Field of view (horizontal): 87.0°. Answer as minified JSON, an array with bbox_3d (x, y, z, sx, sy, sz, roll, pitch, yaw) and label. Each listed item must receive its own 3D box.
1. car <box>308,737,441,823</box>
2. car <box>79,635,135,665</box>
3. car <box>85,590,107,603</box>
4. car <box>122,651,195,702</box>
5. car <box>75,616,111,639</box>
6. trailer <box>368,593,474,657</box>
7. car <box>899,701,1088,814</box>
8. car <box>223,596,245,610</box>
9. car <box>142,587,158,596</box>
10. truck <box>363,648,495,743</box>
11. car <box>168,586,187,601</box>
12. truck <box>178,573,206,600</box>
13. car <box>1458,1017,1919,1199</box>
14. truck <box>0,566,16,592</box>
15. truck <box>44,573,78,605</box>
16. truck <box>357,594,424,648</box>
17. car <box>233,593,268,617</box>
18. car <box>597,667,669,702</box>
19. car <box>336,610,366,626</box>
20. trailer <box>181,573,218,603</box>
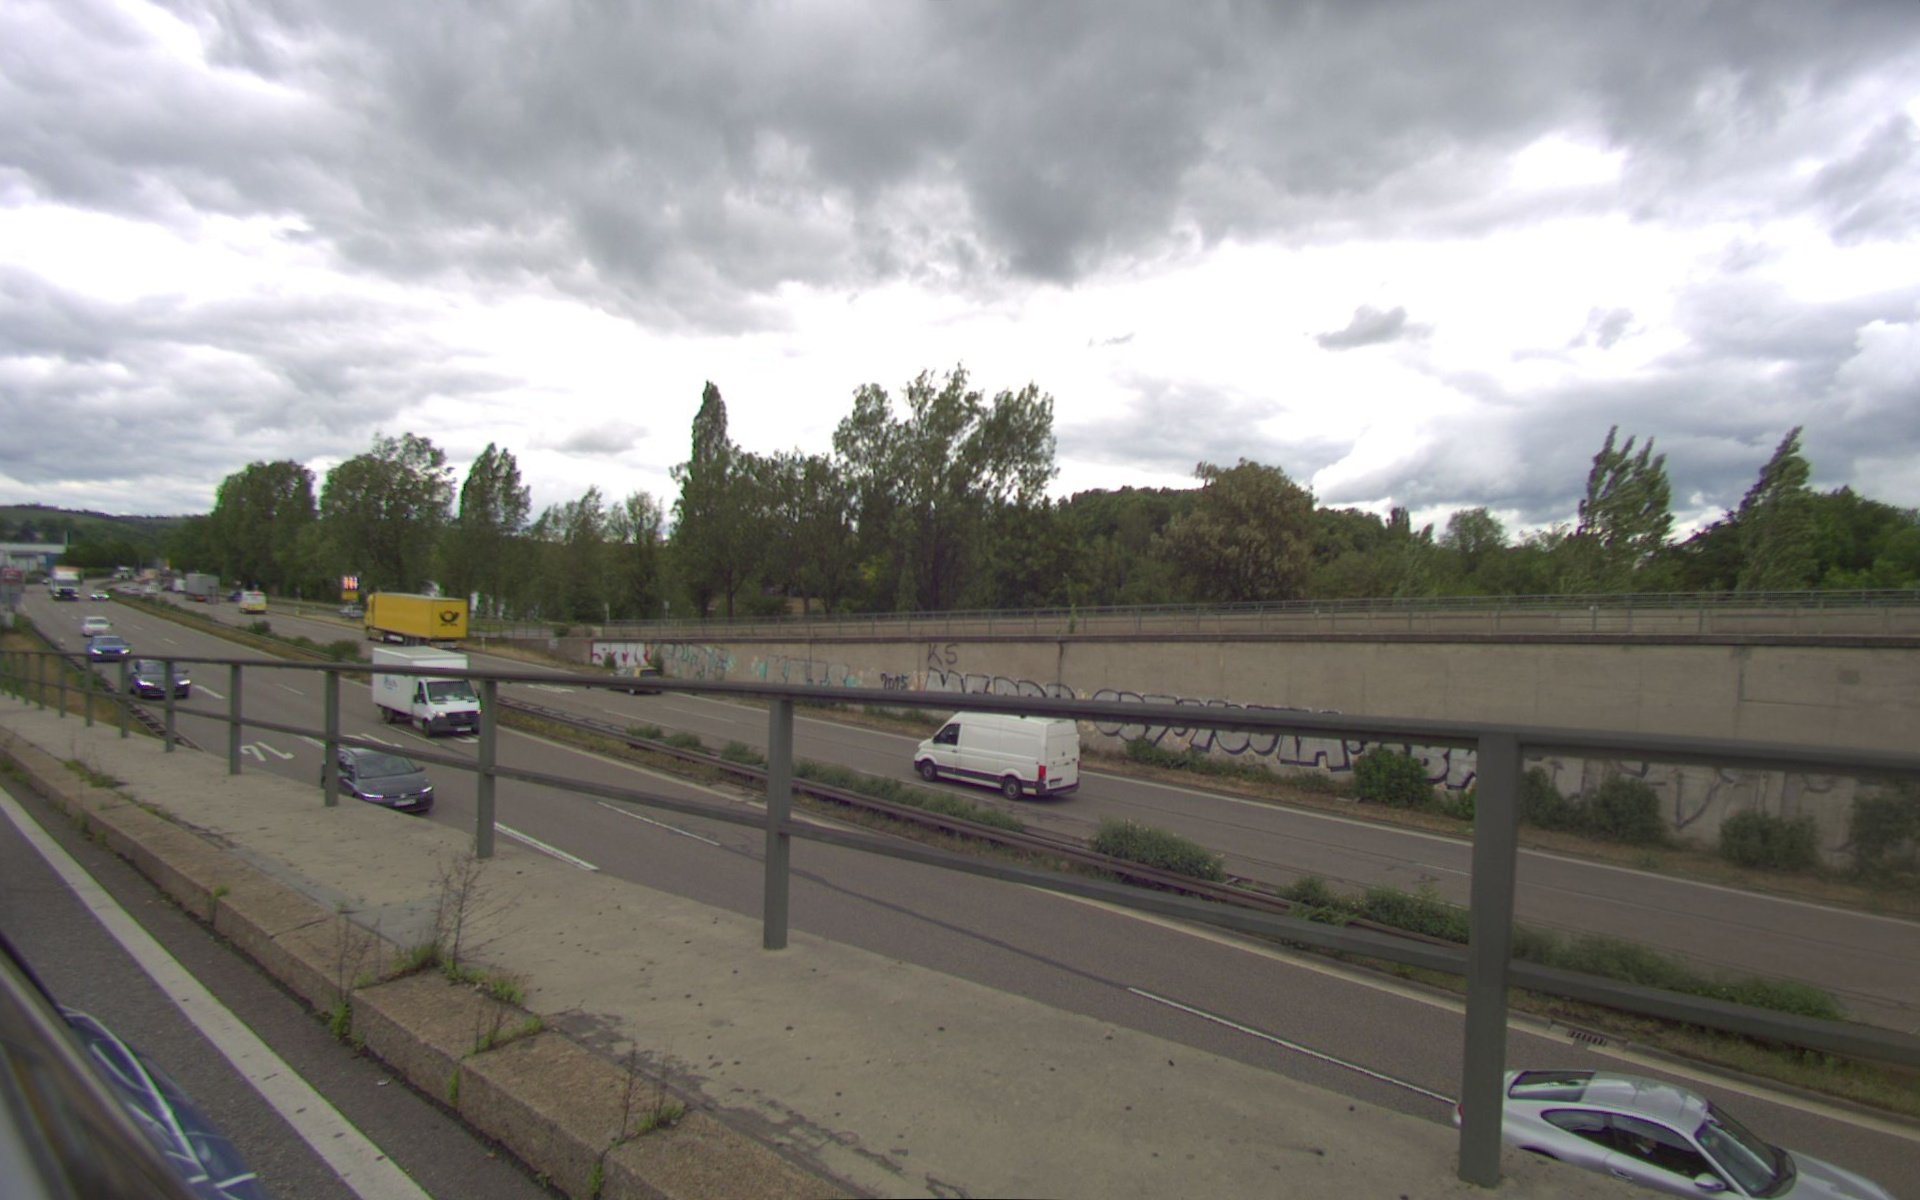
[{"bbox_3d":[-15.591,4.704,26.866,4.126,1.461,1.804,2,0,41],"label":"car"},{"bbox_3d":[-51.346,3.008,60.913,3.999,1.544,1.973,2,-1,41],"label":"car"},{"bbox_3d":[-122.613,-0.500,143.616,4.439,1.582,1.830,3,2,43],"label":"car"},{"bbox_3d":[-36.693,3.447,46.298,4.001,2.029,1.971,2,-1,43],"label":"car"},{"bbox_3d":[-66.667,2.109,77.794,3.337,1.539,1.745,2,0,43],"label":"car"},{"bbox_3d":[-42.432,1.803,79.283,13.685,4.294,3.204,2,0,44],"label":"trailer"},{"bbox_3d":[0.984,4.951,32.795,6.101,2.613,2.144,2,0,42],"label":"car"},{"bbox_3d":[-114.786,0.481,159.995,1.970,1.914,4.587,6,-3,-44],"label":"car"},{"bbox_3d":[-148.328,-1.583,185.297,4.002,1.431,1.660,3,0,44],"label":"car"},{"bbox_3d":[-21.366,3.663,40.539,7.229,3.031,2.210,2,1,41],"label":"truck"},{"bbox_3d":[-152.022,-1.349,196.650,5.180,2.669,1.972,2,-3,42],"label":"car"},{"bbox_3d":[-122.117,-2.143,160.876,2.754,4.170,5.940,1,1,-44],"label":"truck"},{"bbox_3d":[7.596,5.802,10.338,4.153,1.311,1.766,3,0,43],"label":"car"},{"bbox_3d":[-161.722,-3.593,170.930,3.059,4.040,8.497,1,2,-45],"label":"truck"},{"bbox_3d":[-123.530,-1.584,139.014,5.877,4.140,2.969,2,0,45],"label":"truck"},{"bbox_3d":[-47.374,1.691,84.114,5.806,4.213,3.204,2,0,44],"label":"truck"},{"bbox_3d":[-84.576,0.556,120.567,6.715,2.648,1.972,2,-1,43],"label":"car"},{"bbox_3d":[-17.893,4.575,55.354,4.152,1.468,1.848,2,0,41],"label":"car"},{"bbox_3d":[-70.154,2.082,116.617,4.378,1.664,1.872,1,2,43],"label":"car"},{"bbox_3d":[-117.417,-1.892,156.071,2.754,4.170,13.775,1,1,-44],"label":"trailer"}]
